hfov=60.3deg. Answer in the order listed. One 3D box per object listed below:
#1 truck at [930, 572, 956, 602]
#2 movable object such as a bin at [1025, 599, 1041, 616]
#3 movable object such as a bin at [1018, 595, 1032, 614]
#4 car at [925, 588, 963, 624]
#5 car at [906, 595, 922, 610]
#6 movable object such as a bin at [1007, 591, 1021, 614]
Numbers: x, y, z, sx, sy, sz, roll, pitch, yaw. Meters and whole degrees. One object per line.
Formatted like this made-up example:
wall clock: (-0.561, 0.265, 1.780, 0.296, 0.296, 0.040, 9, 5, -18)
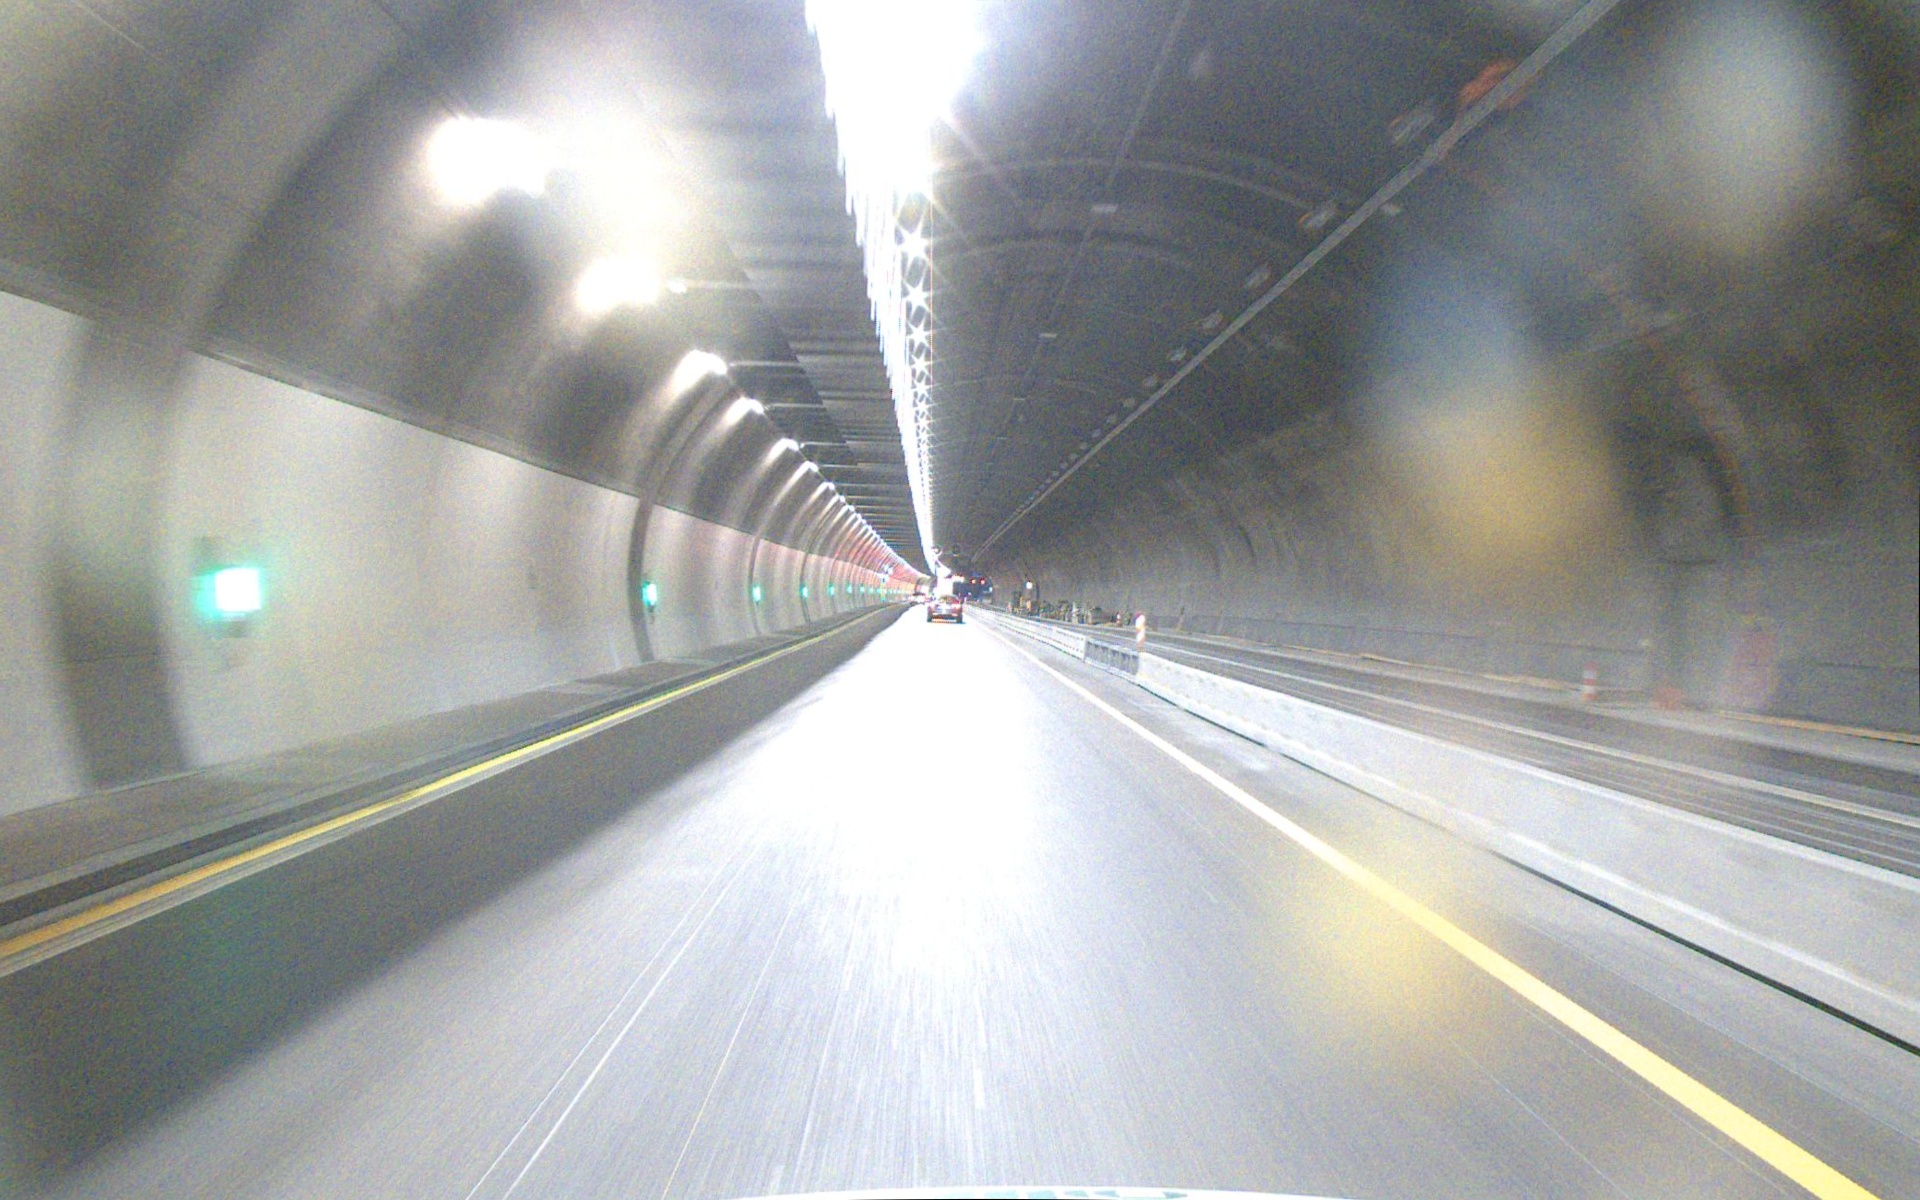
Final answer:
truck: (-2.789, -2.117, 268.152, 3.983, 4.612, 14.962, 1, 0, -1)
movable object such as a bin: (6.538, 0.655, 148.774, 1.210, 1.467, 2.216, 3, 0, -1)
movable object such as a bin: (6.292, 0.430, 160.090, 1.210, 1.748, 2.216, 3, 0, -1)
car: (-0.855, 0.283, 86.272, 1.907, 1.826, 3.999, 1, 0, -2)
car: (-5.448, 0.328, 196.442, 1.891, 1.716, 3.999, 1, 0, -1)
movable object such as a bin: (5.447, 0.255, 166.783, 1.210, 2.178, 2.216, 3, 0, -1)
